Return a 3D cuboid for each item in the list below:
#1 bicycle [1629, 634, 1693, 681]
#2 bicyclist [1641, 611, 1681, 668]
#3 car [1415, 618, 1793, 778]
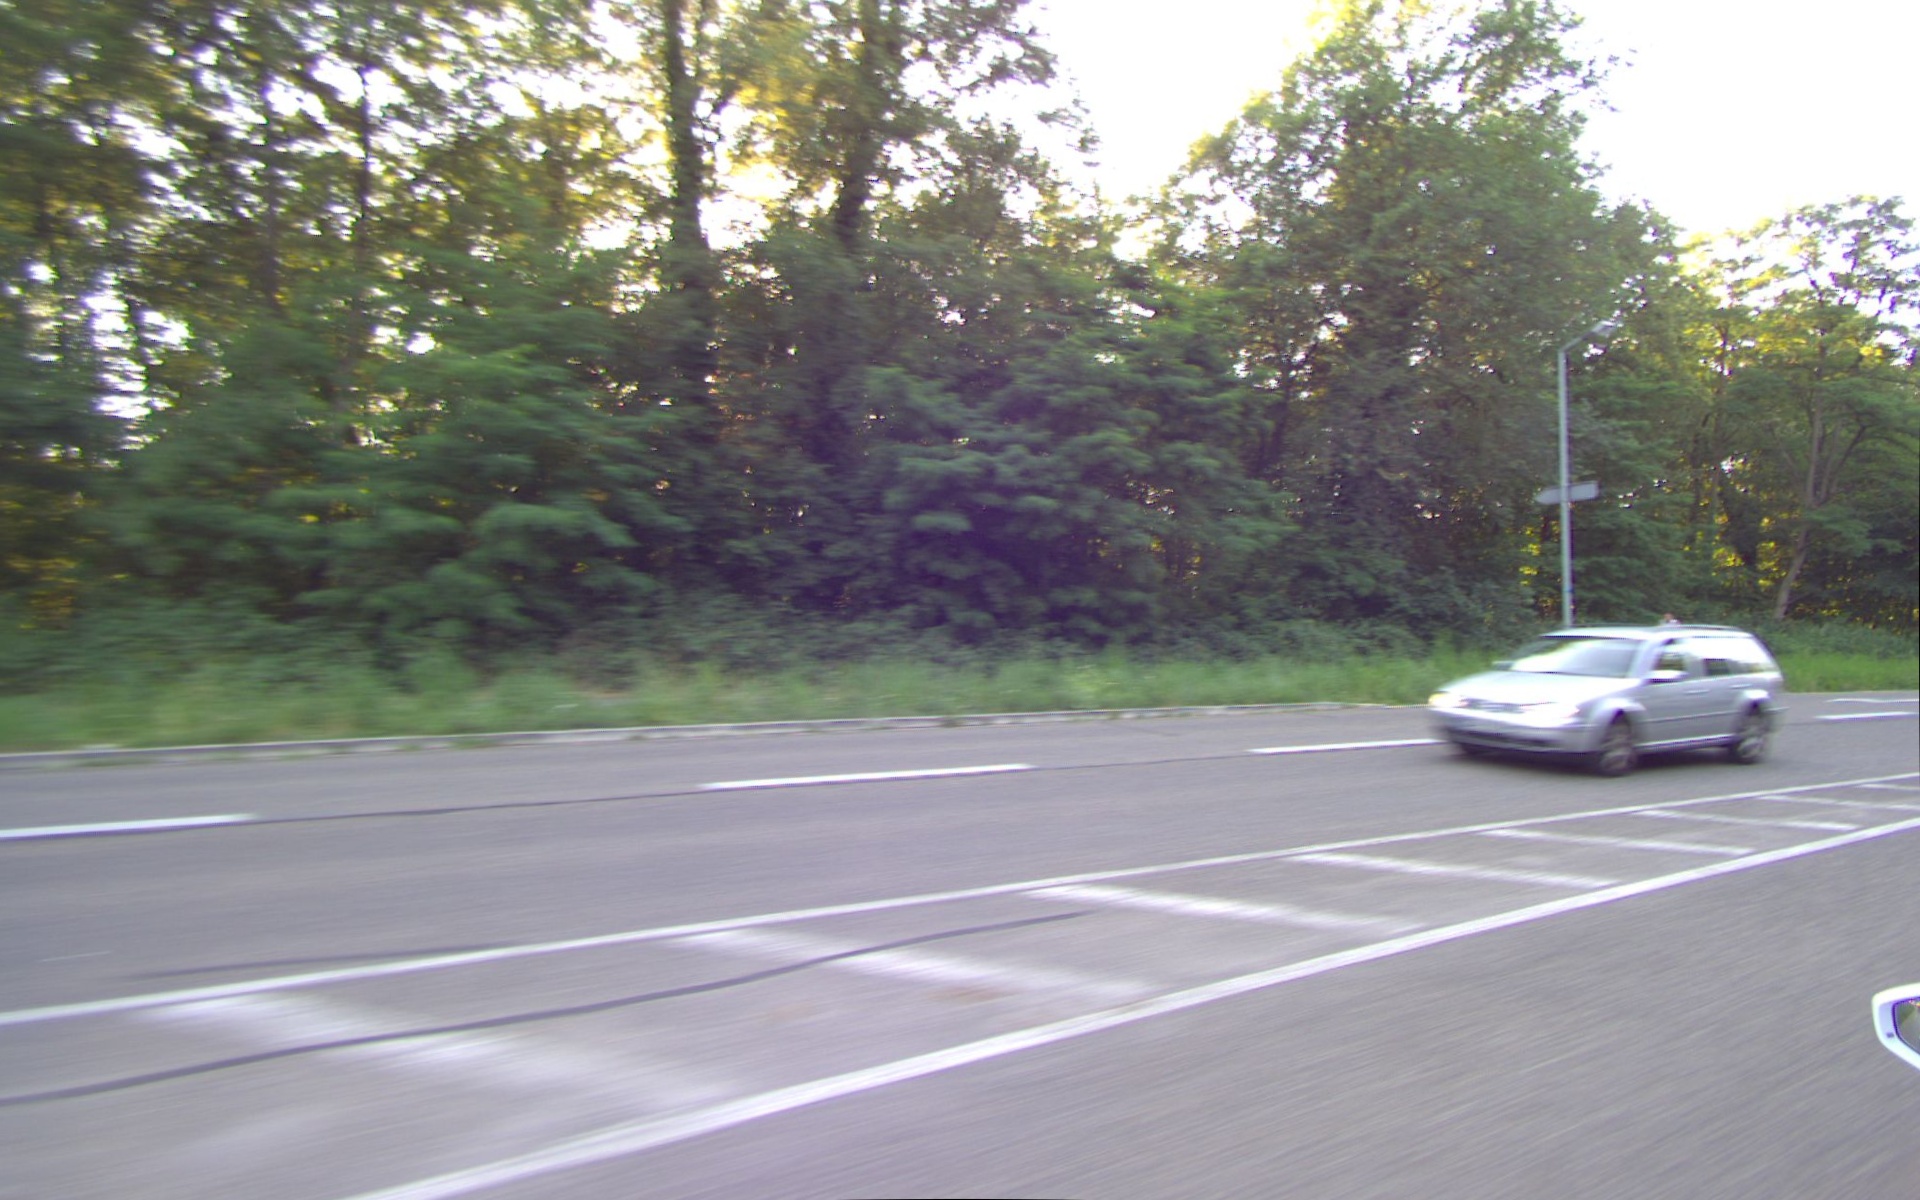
[{"bbox_3d":[19.363,1.569,27.725,2.237,1.233,0.626,1,-1,-33],"label":"bicycle"},{"bbox_3d":[19.342,1.075,27.712,0.838,1.531,0.616,0,-1,-33],"label":"bicyclist"},{"bbox_3d":[7.114,0.956,11.035,4.120,1.465,1.709,1,-1,-28],"label":"car"}]
